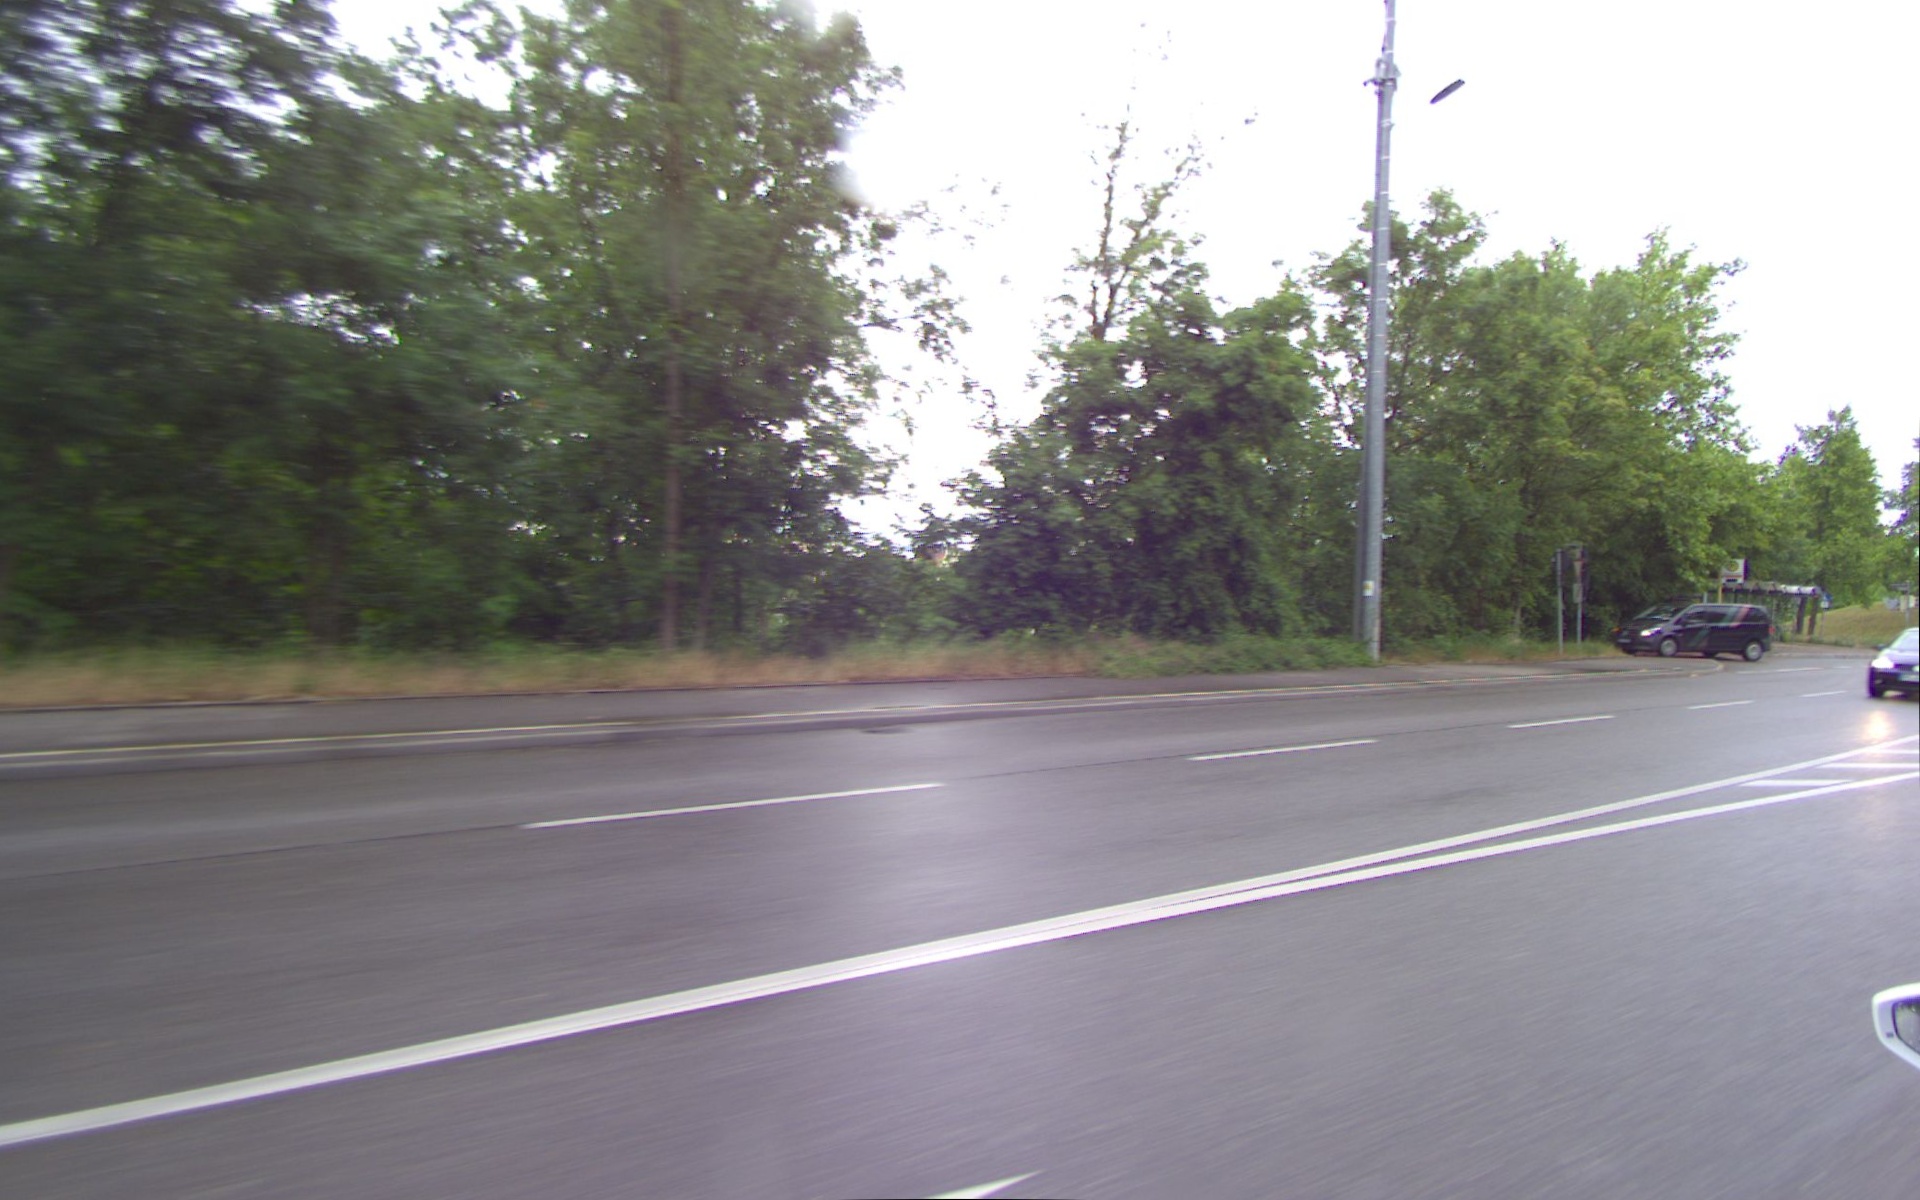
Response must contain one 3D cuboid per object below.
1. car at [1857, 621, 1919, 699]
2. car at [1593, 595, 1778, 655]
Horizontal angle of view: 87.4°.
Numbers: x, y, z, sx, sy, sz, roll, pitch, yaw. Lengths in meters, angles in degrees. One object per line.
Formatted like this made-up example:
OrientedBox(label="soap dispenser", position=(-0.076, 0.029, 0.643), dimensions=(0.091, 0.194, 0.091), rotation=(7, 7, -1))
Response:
OrientedBox(label="car", position=(19.946, 1.197, 20.422), dimensions=(4.039, 1.446, 1.689), rotation=(1, 2, -36))
OrientedBox(label="car", position=(24.937, 0.853, 34.634), dimensions=(5.063, 1.972, 2.107), rotation=(1, 0, -6))
